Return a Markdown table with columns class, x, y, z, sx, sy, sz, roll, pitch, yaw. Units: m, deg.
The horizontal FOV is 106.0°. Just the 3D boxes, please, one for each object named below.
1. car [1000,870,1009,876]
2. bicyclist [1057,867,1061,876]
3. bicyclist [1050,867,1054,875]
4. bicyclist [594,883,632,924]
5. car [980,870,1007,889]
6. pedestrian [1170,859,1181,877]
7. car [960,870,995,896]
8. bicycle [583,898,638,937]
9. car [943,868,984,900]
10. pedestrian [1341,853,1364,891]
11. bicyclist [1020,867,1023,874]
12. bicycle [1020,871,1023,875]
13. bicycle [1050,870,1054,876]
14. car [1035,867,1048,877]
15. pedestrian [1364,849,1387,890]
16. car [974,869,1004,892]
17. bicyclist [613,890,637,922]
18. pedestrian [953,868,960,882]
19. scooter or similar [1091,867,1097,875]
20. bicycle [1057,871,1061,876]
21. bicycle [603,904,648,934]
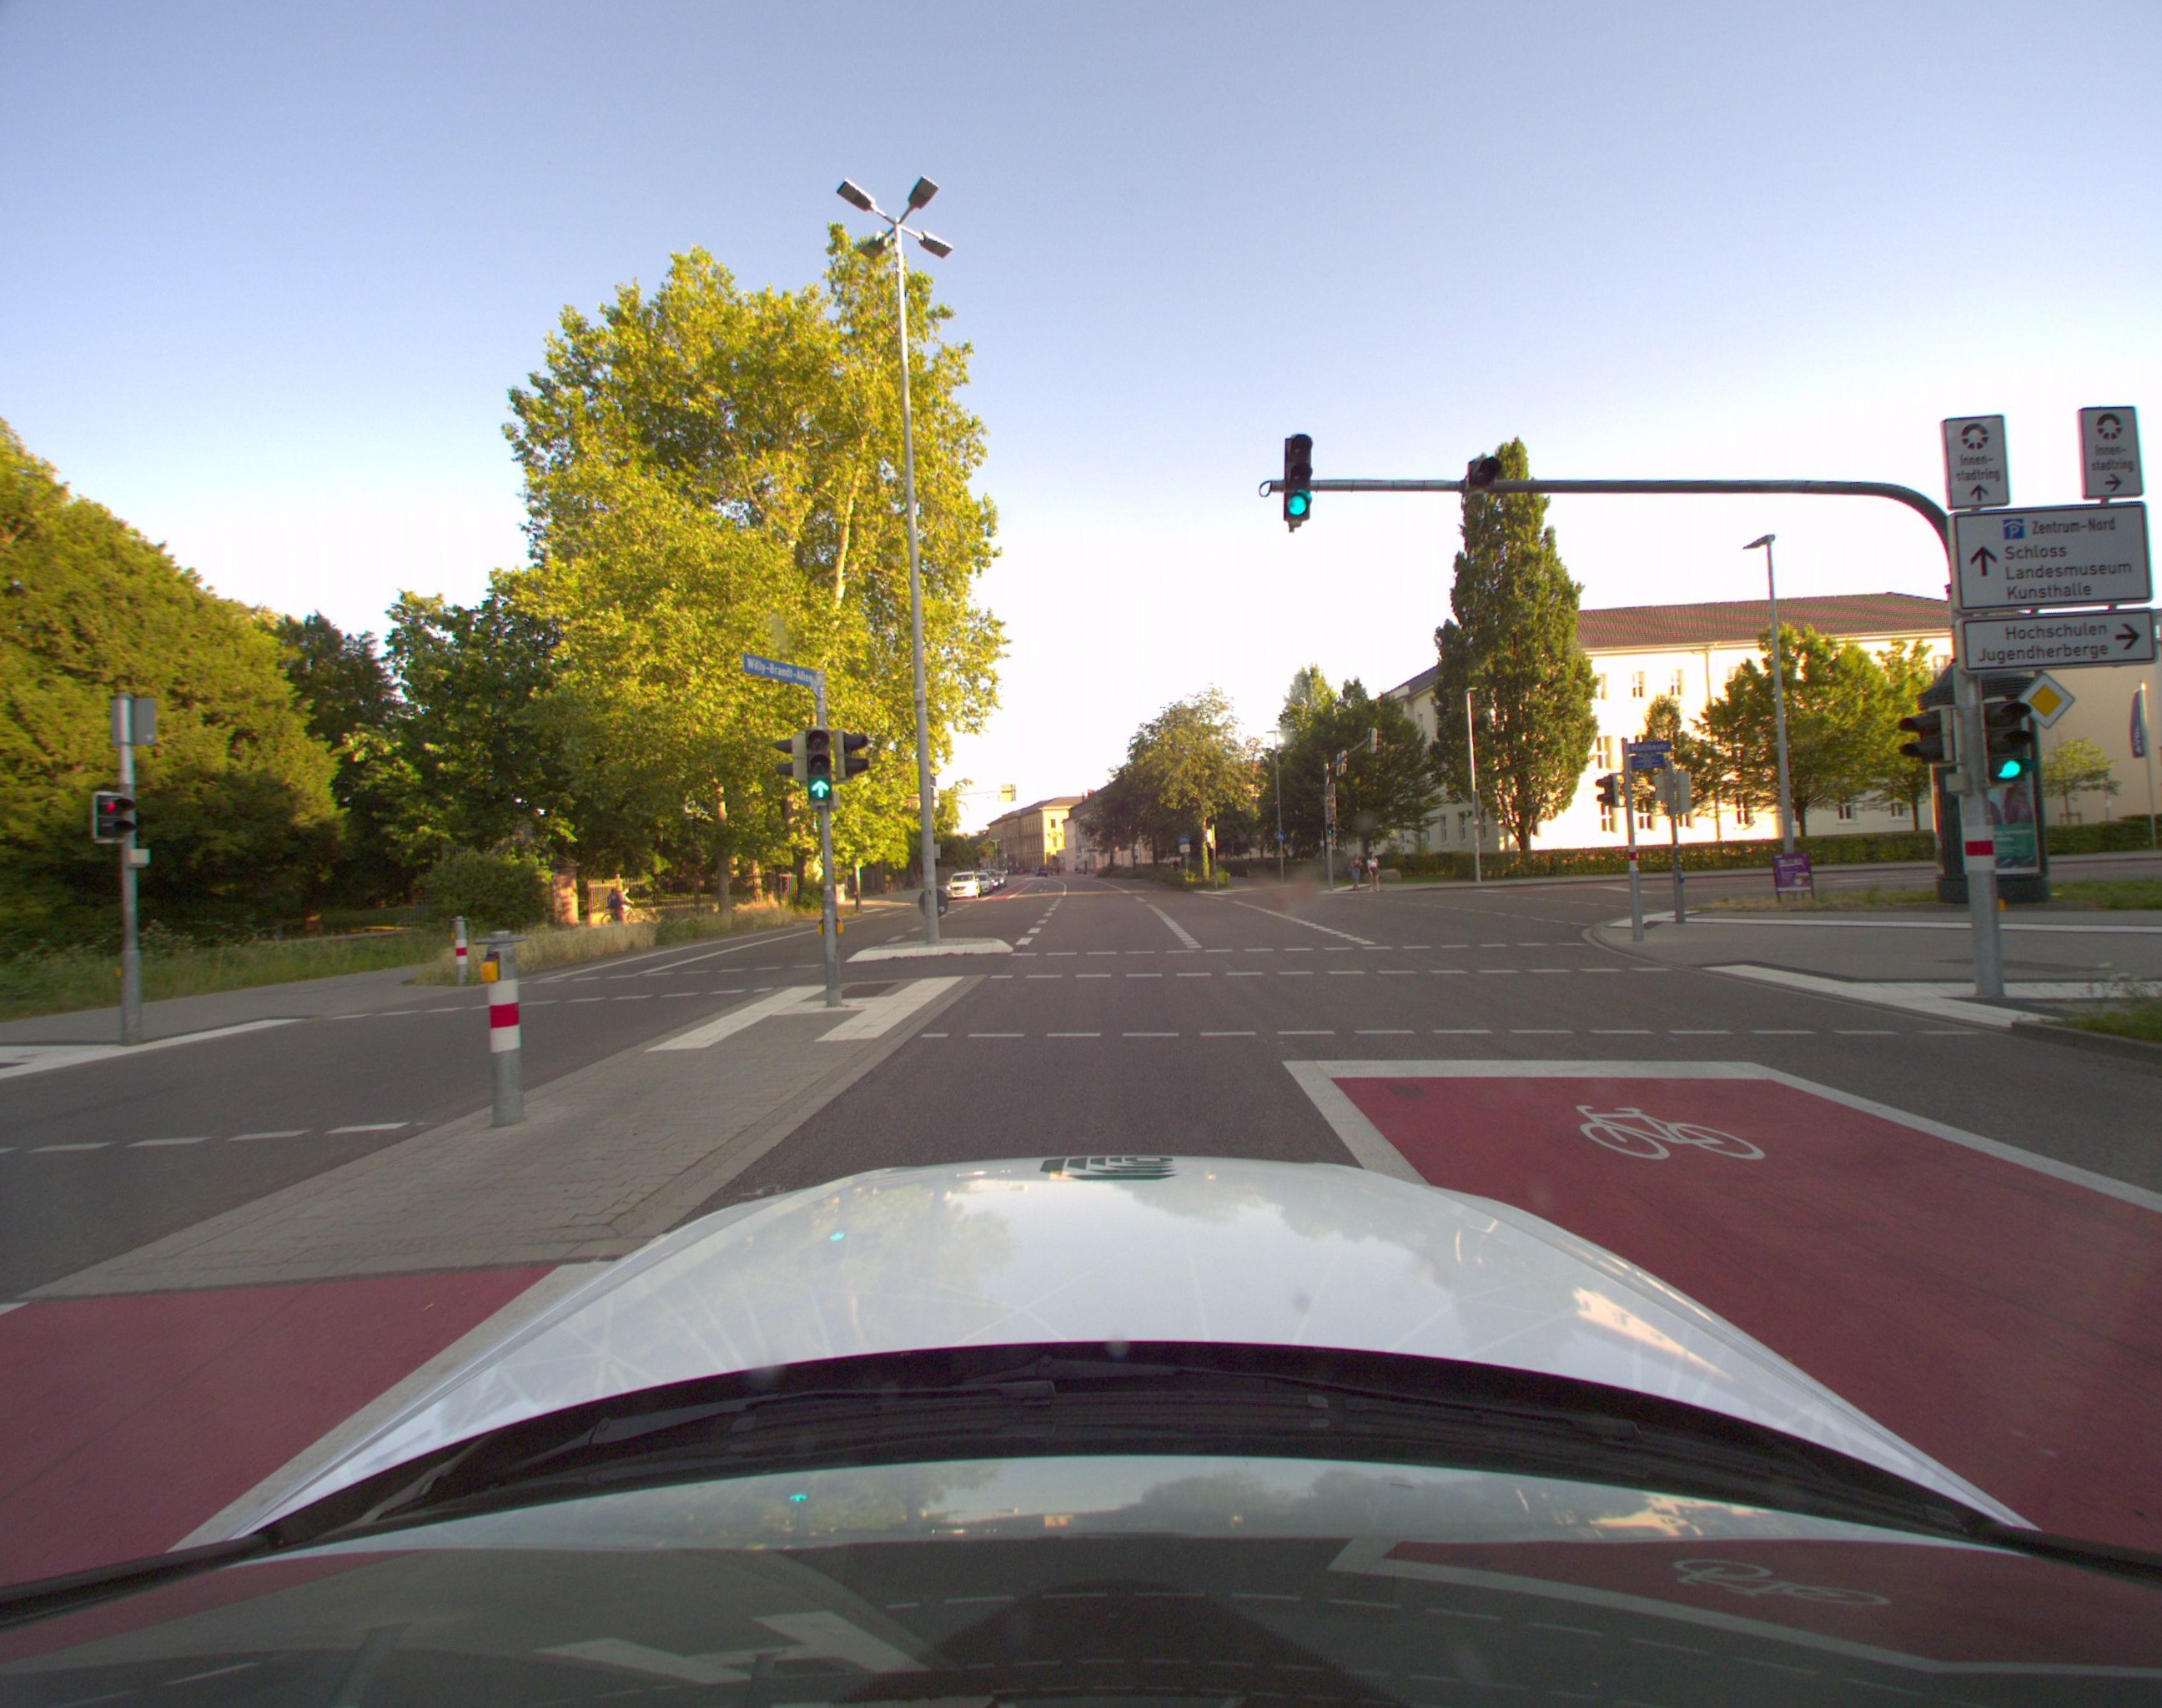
| class | x | y | z | sx | sy | sz | roll | pitch | yaw |
| --- | --- | --- | --- | --- | --- | --- | --- | --- | --- |
| car | -19.764 | 4.898 | 210.703 | 1.915 | 1.418 | 4.756 | -5 | -1 | -8 |
| bicyclist | -3.829 | 3.082 | 142.017 | 0.649 | 1.475 | 0.941 | 0 | -1 | 1 |
| bicyclist | -5.000 | 3.003 | 141.940 | 0.651 | 1.446 | 0.878 | 0 | -1 | -5 |
| bicyclist | -17.145 | 1.813 | 29.850 | 0.786 | 1.427 | 0.892 | -3 | -1 | 1 |
| car | -7.656 | 2.234 | 71.387 | 1.912 | 1.418 | 4.765 | -5 | -1 | -2 |
| pedestrian | 9.337 | 1.372 | 80.384 | 0.769 | 1.739 | 0.805 | -3 | -1 | -8 |
| car | -7.153 | 1.982 | 56.772 | 1.912 | 1.583 | 4.670 | -5 | -1 | -2 |
| bicycle | -17.131 | 2.291 | 29.694 | 0.786 | 1.256 | 1.980 | -3 | -1 | 1 |
| car | -7.150 | 1.818 | 49.934 | 1.912 | 1.695 | 4.422 | -5 | -1 | -2 |
| pedestrian | 11.893 | 0.769 | 35.657 | 0.678 | 1.622 | 0.845 | -3 | 0 | 1 |
| bicyclist | -14.830 | 4.215 | 204.216 | 0.651 | 1.698 | 0.954 | 0 | -1 | -8 |
| bicycle | -14.848 | 4.864 | 204.383 | 0.651 | 1.015 | 2.192 | 0 | -1 | -7 |
| bicycle | -5.005 | 3.316 | 141.965 | 0.651 | 1.015 | 2.194 | 0 | -1 | -5 |
| car | -6.261 | 2.885 | 128.776 | 1.865 | 1.510 | 3.992 | -2 | -1 | -5 |
| pedestrian | 12.696 | 0.663 | 35.152 | 0.678 | 1.754 | 0.689 | -3 | 0 | 1 |
| car | -7.329 | 2.099 | 65.169 | 1.912 | 1.624 | 4.634 | -5 | -1 | -2 |
| bicyclist | -20.299 | 2.302 | 36.283 | 0.840 | 1.361 | 0.568 | -2 | -1 | -25 |
| pedestrian | -14.484 | 2.481 | 94.888 | 0.678 | 1.622 | 0.689 | -3 | -1 | 1 |
| scooter or similar | 2.293 | 3.020 | 144.771 | 0.630 | 1.337 | 2.390 | -2 | -1 | -12 |
| bicycle | -3.827 | 3.397 | 142.037 | 0.649 | 1.015 | 2.198 | 0 | -1 | 1 |
| bicycle | -20.259 | 2.884 | 36.251 | 1.635 | 1.229 | 0.568 | -2 | -1 | -25 |
